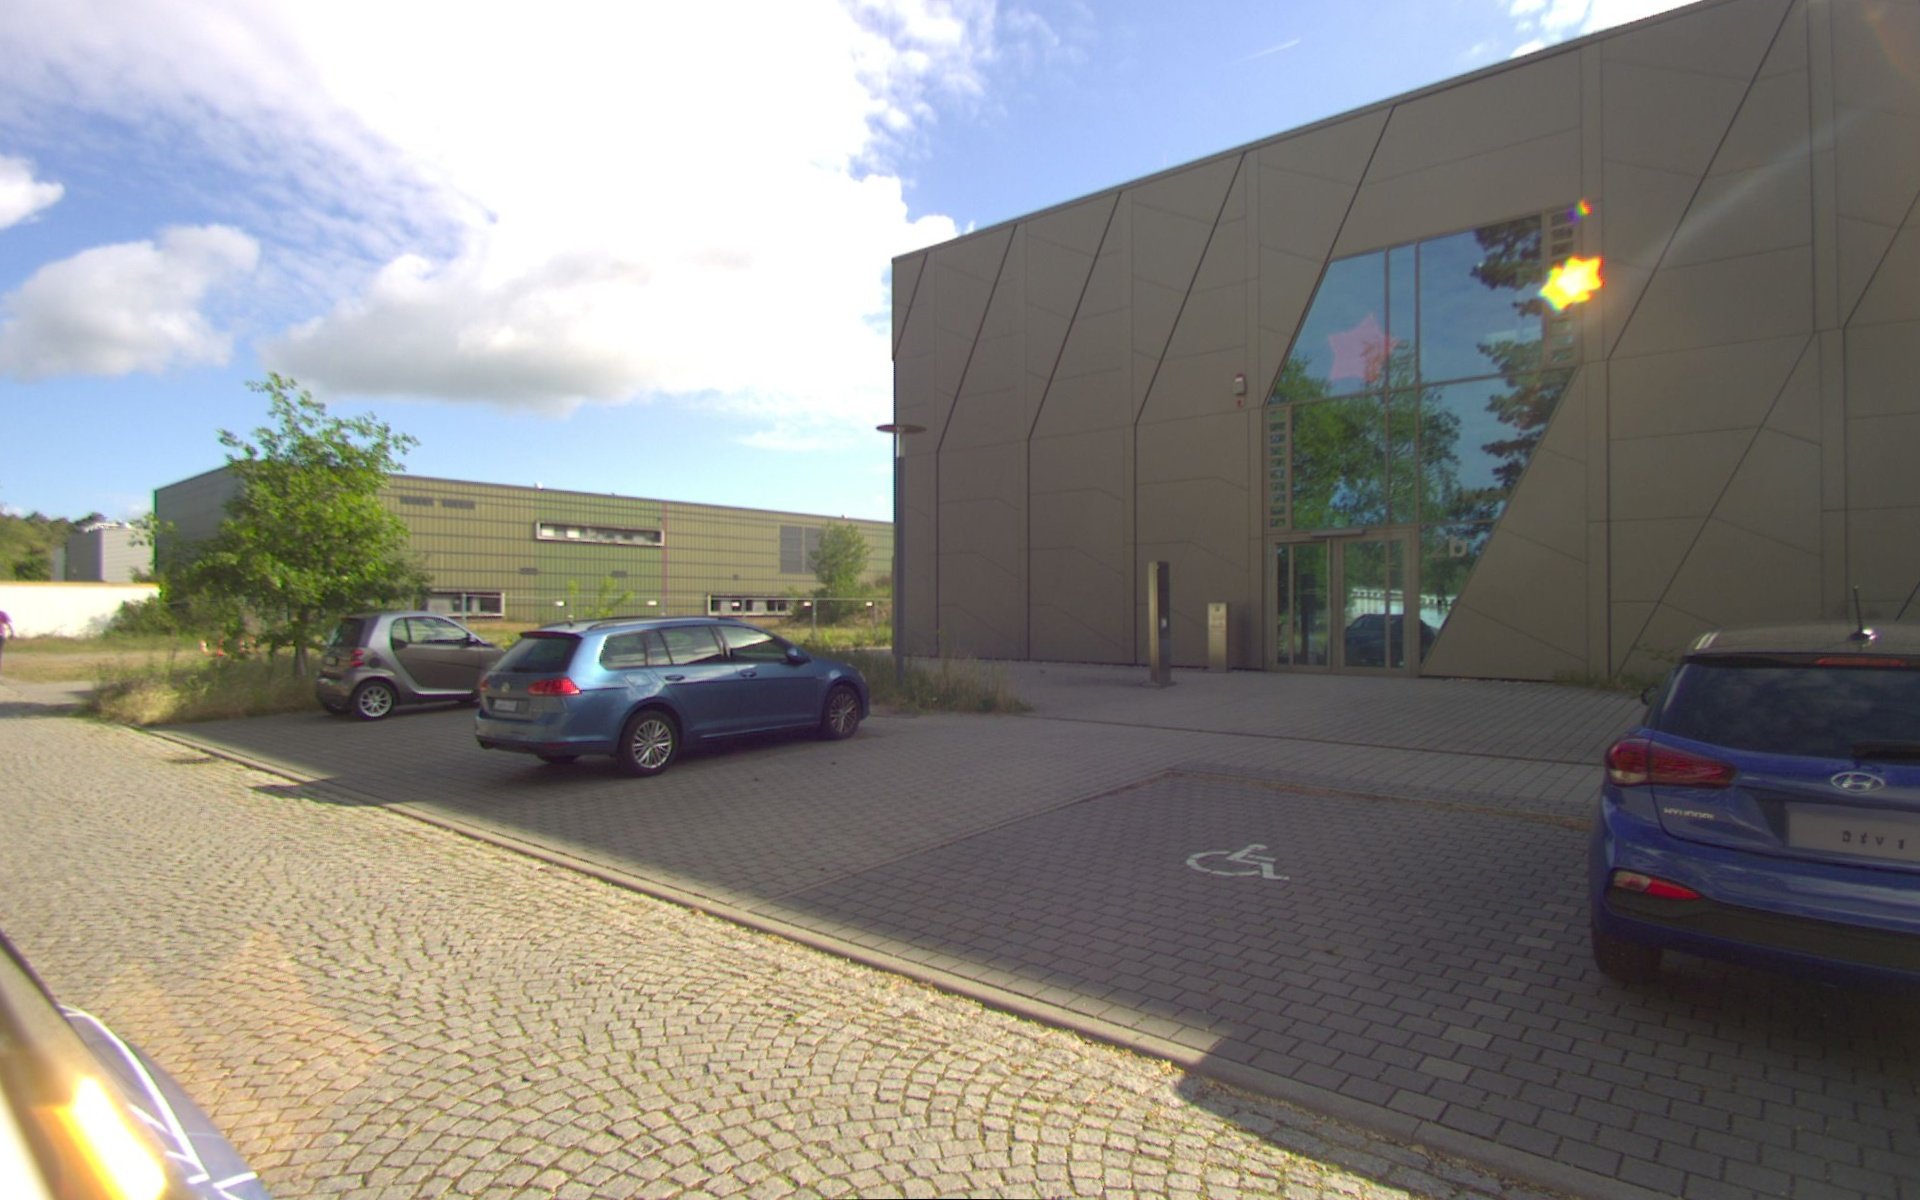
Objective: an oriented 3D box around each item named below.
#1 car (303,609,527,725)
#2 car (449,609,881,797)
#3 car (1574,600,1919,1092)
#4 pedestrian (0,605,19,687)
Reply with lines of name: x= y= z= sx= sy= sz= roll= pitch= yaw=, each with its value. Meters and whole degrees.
car: x=-8.376 y=0.958 z=15.659 sx=1.517 sy=1.554 sz=2.672 roll=-1 pitch=1 yaw=39
car: x=-2.888 y=0.895 z=10.741 sx=1.678 sy=1.475 sz=4.216 roll=-1 pitch=0 yaw=38
car: x=4.237 y=0.774 z=4.623 sx=1.720 sy=1.475 sz=3.794 roll=-1 pitch=1 yaw=43
pedestrian: x=-21.494 y=1.016 z=22.378 sx=1.151 sy=1.785 sz=0.797 roll=-1 pitch=-1 yaw=36
